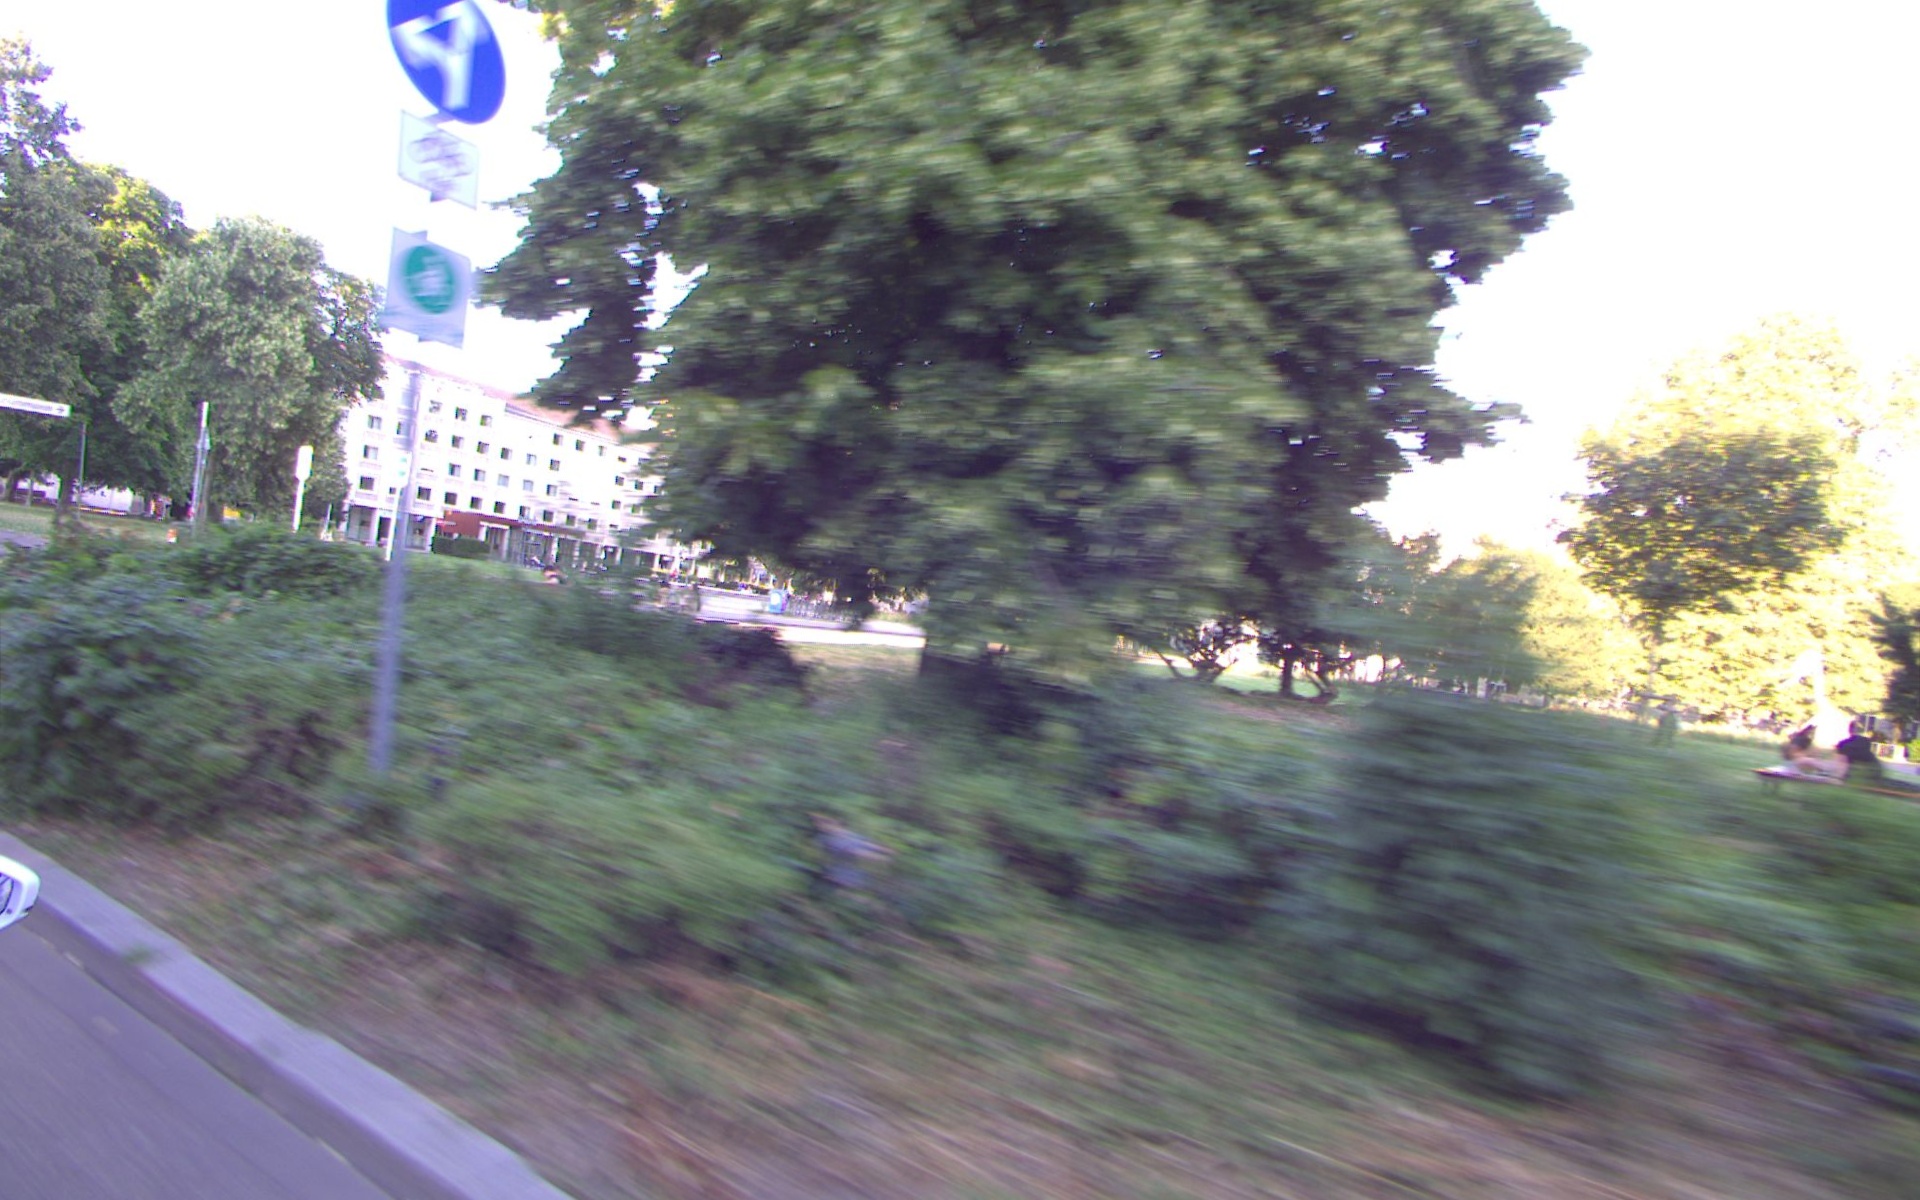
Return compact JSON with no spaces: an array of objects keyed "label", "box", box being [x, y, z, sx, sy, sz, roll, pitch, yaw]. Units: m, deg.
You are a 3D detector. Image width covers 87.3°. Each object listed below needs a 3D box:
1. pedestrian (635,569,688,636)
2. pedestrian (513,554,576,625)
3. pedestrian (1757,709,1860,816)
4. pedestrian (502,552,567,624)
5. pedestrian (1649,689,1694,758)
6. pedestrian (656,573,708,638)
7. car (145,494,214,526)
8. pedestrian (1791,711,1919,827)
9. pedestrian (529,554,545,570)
[{"label":"pedestrian","box":[-6.627,0.054,22.345,0.804,1.358,0.598,7,1,26]},{"label":"pedestrian","box":[-8.182,-0.203,19.834,0.857,1.277,0.598,7,0,1]},{"label":"pedestrian","box":[12.483,2.372,14.826,0.773,1.364,0.761,7,1,15]},{"label":"pedestrian","box":[-8.098,-0.227,19.178,0.803,1.253,0.683,7,0,2]},{"label":"pedestrian","box":[19.857,3.431,28.100,0.745,1.769,0.772,7,1,28]},{"label":"pedestrian","box":[-6.326,0.121,22.929,0.804,1.358,0.598,7,1,26]},{"label":"car","box":[-65.712,-7.568,84.780,1.967,2.038,4.036,8,0,33]},{"label":"pedestrian","box":[12.374,2.315,13.948,0.868,1.364,0.920,7,1,16]},{"label":"pedestrian","box":[-32.481,-2.921,77.318,0.893,1.091,0.614,7,1,-41]}]
